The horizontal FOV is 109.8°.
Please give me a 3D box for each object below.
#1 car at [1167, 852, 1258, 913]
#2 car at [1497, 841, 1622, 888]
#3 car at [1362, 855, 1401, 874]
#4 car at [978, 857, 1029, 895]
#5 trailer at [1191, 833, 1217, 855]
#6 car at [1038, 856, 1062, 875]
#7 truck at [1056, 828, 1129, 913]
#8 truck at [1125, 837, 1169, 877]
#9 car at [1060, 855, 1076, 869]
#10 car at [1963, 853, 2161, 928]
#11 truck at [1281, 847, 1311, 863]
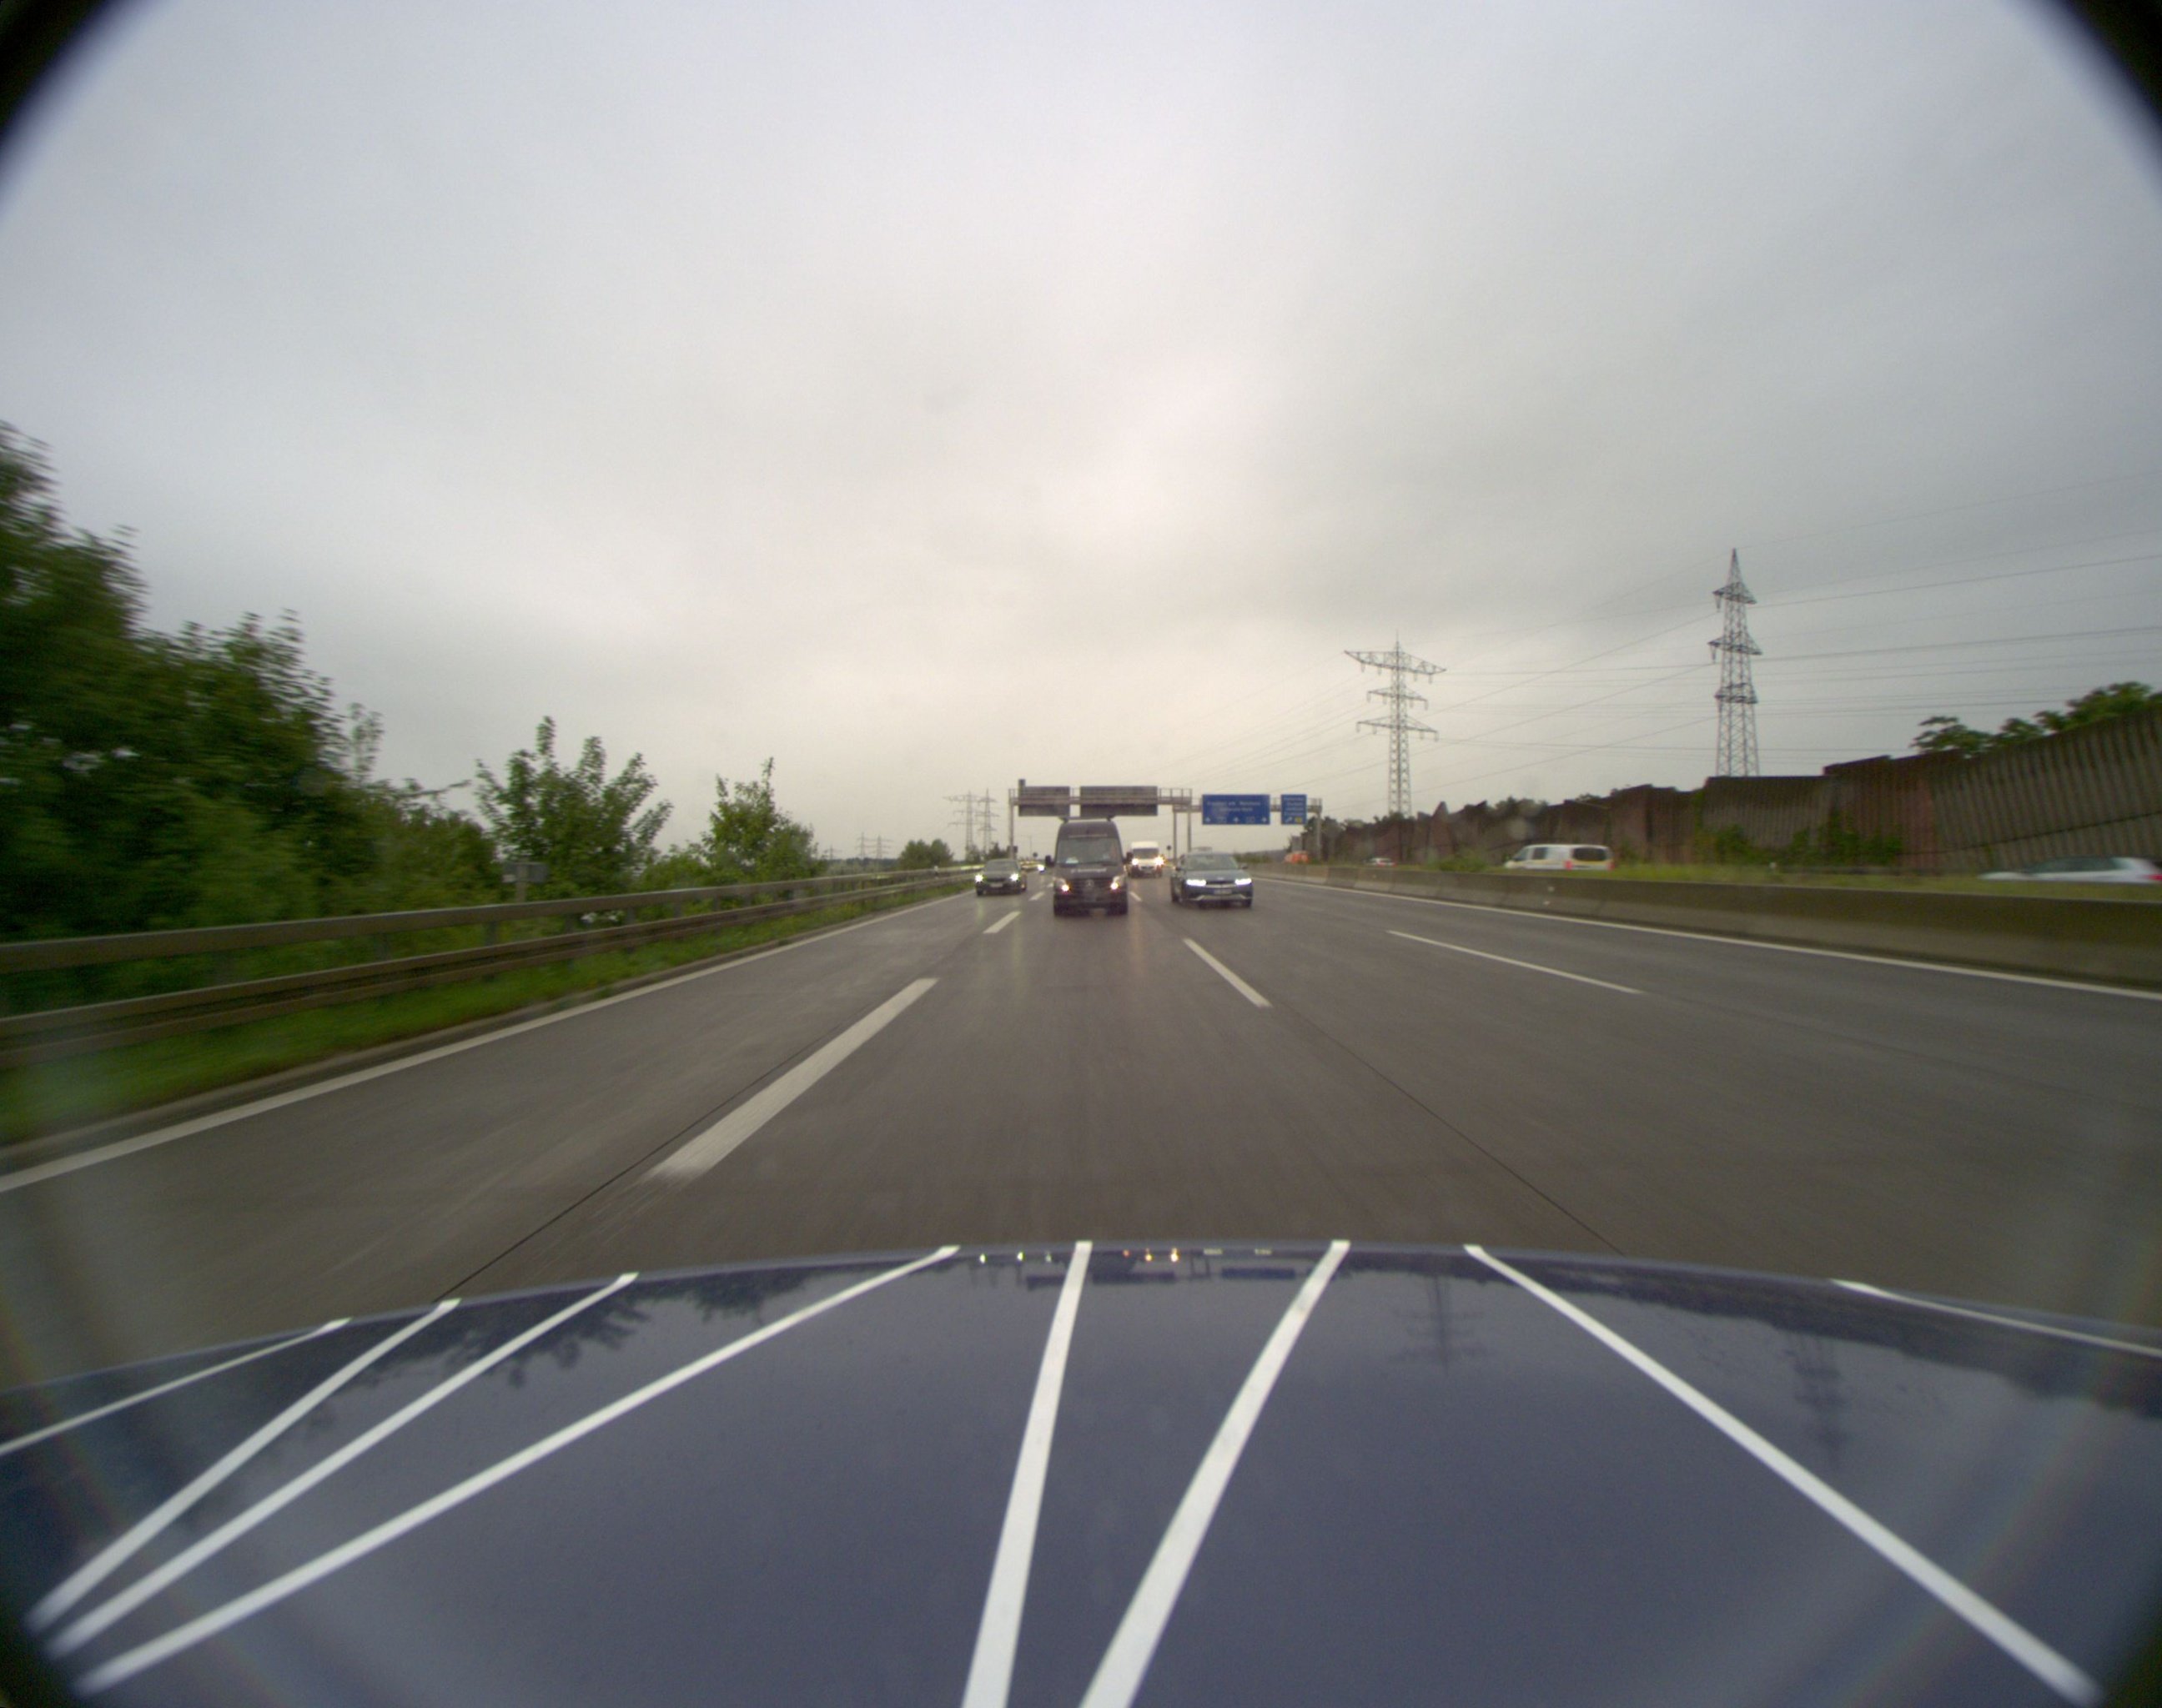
[{"bbox_3d":[3.836,0.767,23.052,1.843,1.585,5.155,-1,0,0],"label":"car"},{"bbox_3d":[20.084,0.394,32.247,1.998,1.774,5.209,-1,0,0],"label":"car"},{"bbox_3d":[28.036,0.963,71.119,1.998,1.729,4.397,-1,0,1],"label":"car"},{"bbox_3d":[-3.380,0.934,33.879,1.862,1.531,4.203,-2,-1,-1],"label":"car"},{"bbox_3d":[25.351,-1.945,157.521,3.064,4.162,13.570,-2,0,0],"label":"trailer"},{"bbox_3d":[-2.819,1.041,69.166,1.998,1.706,4.000,1,0,0],"label":"car"},{"bbox_3d":[0.248,0.445,24.182,1.999,2.324,6.110,-1,0,-1],"label":"truck"},{"bbox_3d":[4.467,0.197,52.748,2.243,2.464,6.582,-2,0,-1],"label":"truck"},{"bbox_3d":[-1.662,1.046,100.230,1.998,1.706,4.000,1,0,0],"label":"car"},{"bbox_3d":[27.236,0.881,20.456,1.998,1.774,4.290,-1,0,0],"label":"car"},{"bbox_3d":[24.260,0.114,85.827,1.998,1.729,5.016,-1,0,1],"label":"truck"}]
